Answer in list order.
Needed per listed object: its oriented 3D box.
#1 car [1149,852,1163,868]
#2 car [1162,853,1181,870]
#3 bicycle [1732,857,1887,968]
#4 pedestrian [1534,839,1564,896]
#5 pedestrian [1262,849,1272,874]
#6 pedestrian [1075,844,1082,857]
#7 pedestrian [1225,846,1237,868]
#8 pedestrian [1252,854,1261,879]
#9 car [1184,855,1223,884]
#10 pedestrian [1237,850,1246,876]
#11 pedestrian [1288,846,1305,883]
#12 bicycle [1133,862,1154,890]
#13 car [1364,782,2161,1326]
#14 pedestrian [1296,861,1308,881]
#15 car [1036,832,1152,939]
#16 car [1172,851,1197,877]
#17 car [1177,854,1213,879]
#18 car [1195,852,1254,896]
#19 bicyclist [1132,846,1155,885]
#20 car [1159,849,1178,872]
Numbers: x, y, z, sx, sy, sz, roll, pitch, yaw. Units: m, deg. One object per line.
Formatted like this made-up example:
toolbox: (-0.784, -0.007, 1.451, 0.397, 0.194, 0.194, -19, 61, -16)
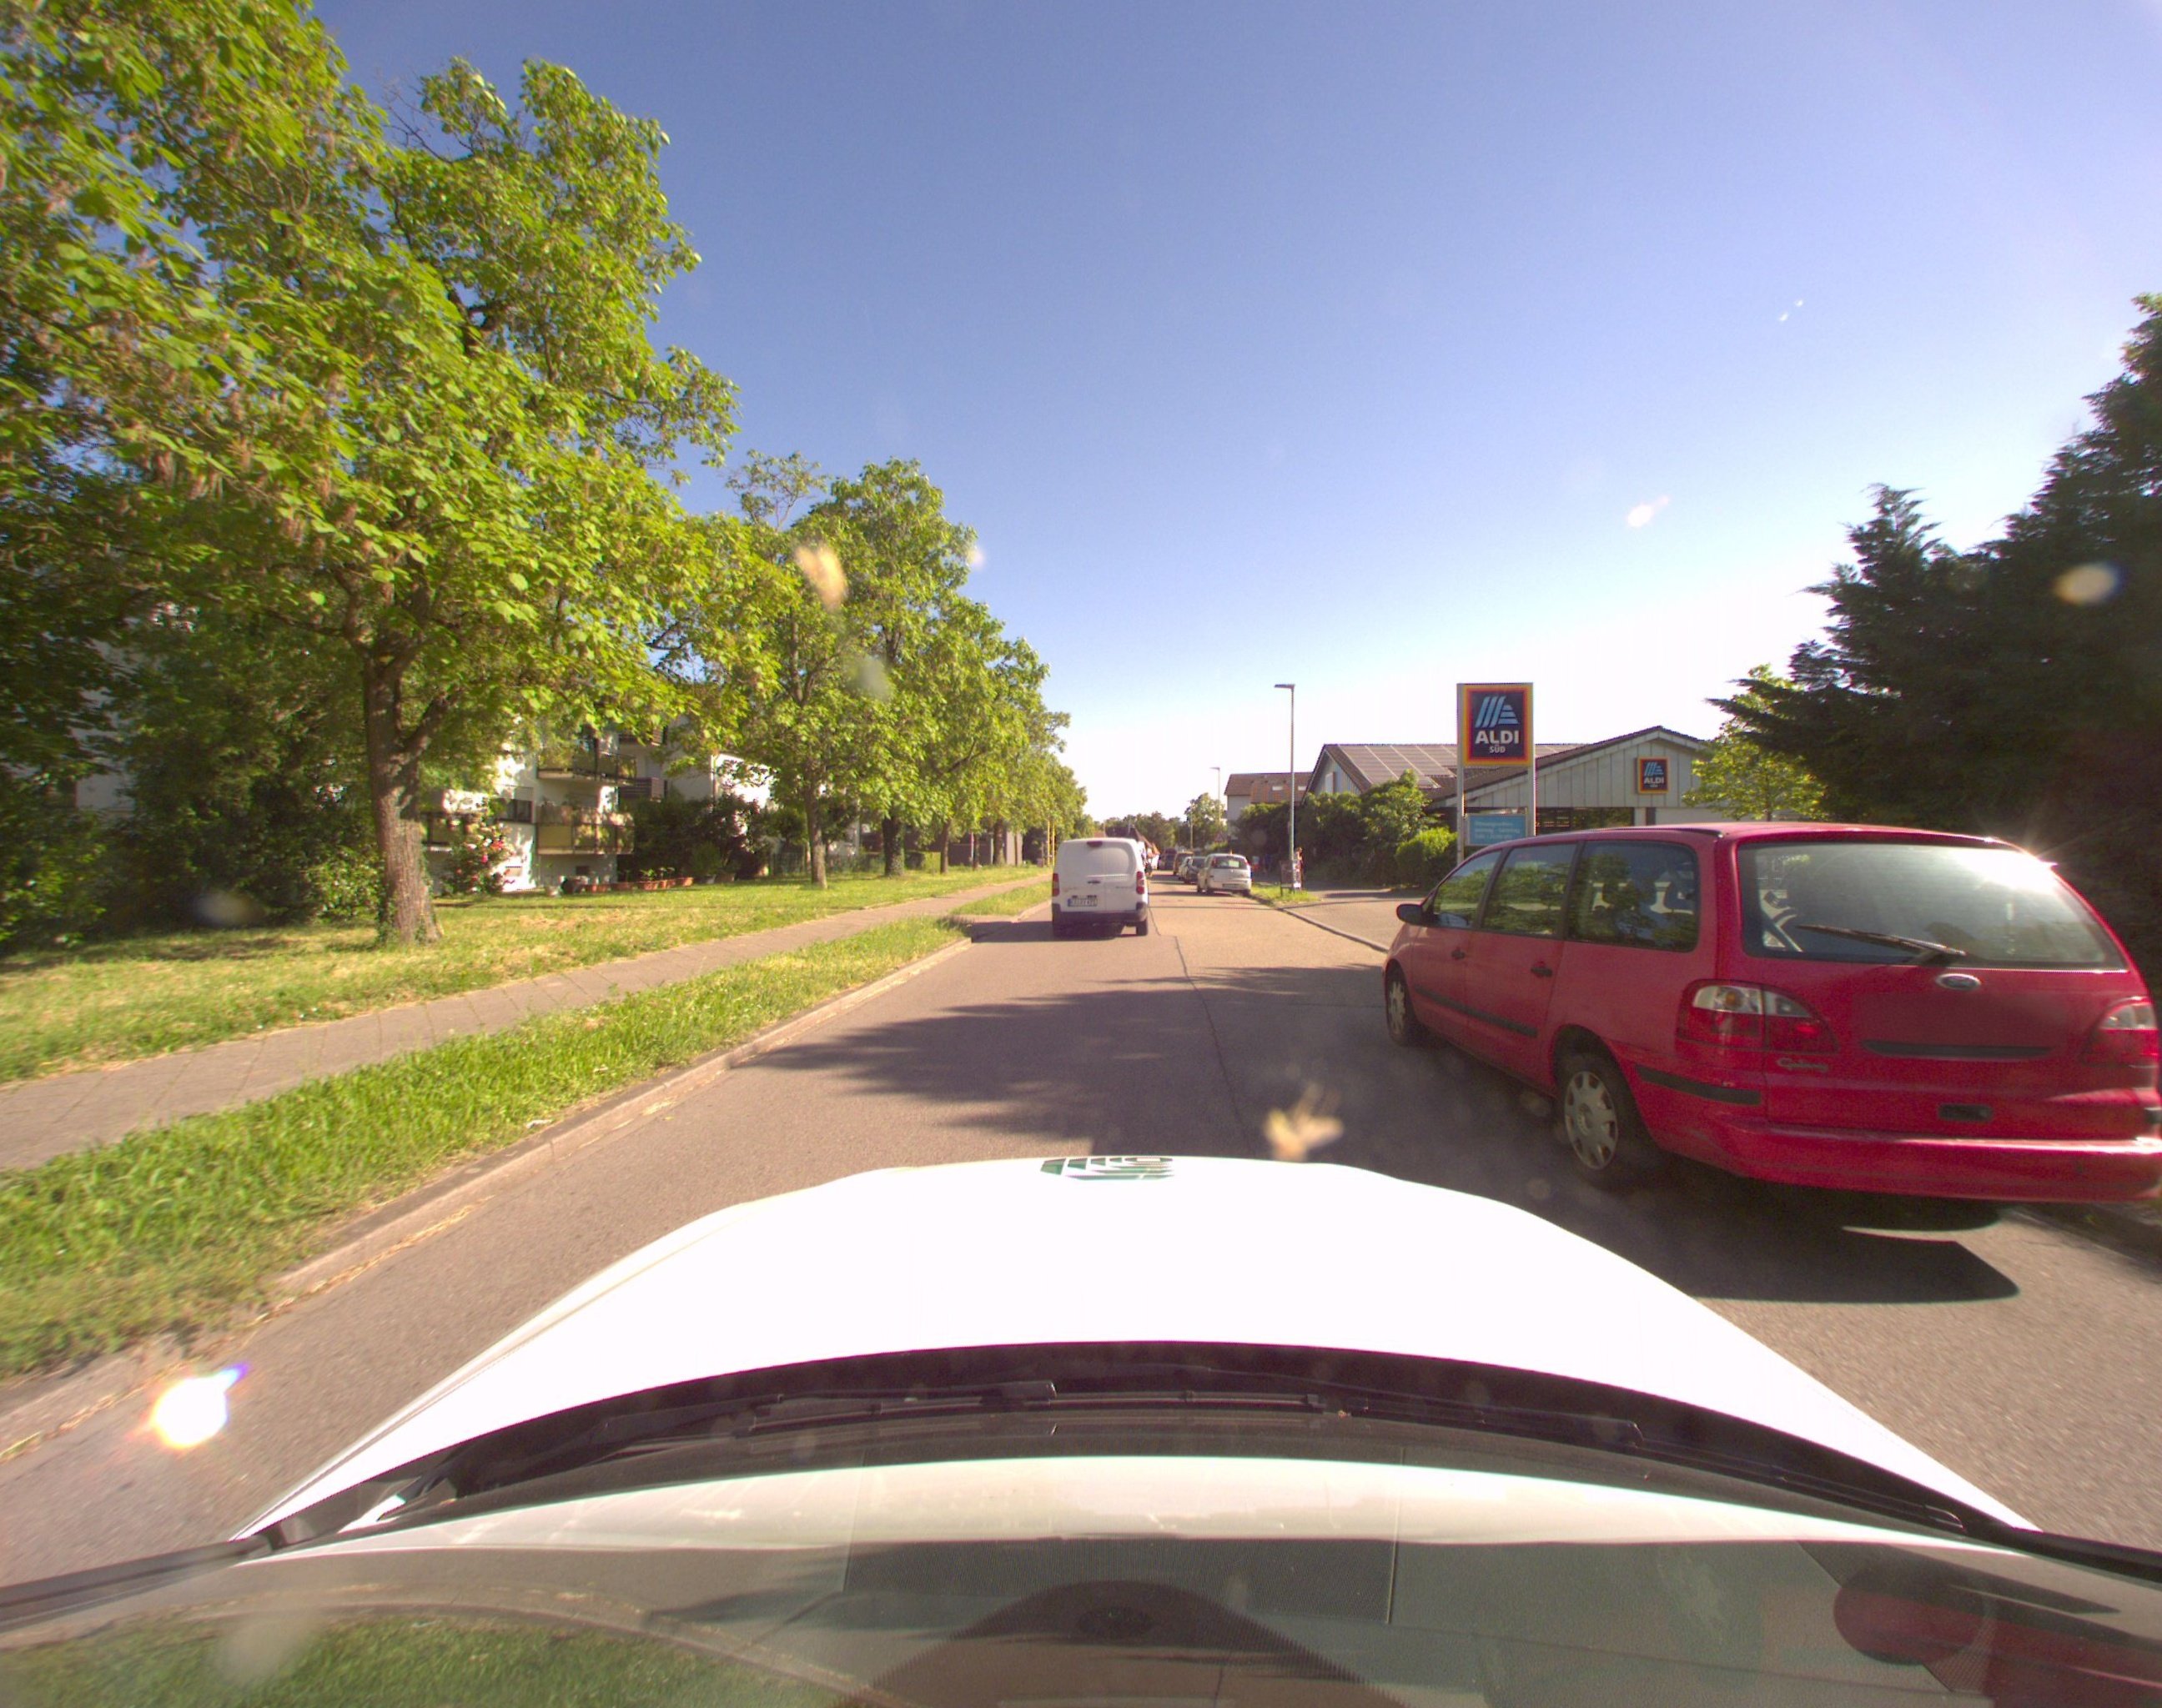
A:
car: (10.410, 0.870, 113.587, 1.796, 2.069, 4.003, 2, -1, 3)
car: (9.703, 0.838, 87.417, 1.796, 1.785, 4.003, 2, -1, 3)
bicycle: (8.798, 0.670, 9.948, 0.714, 1.221, 1.905, -2, -2, 20)
pedestrian: (13.599, 0.376, 23.664, 0.685, 1.631, 0.781, 0, 0, 25)
pedestrian: (12.320, 0.479, 53.971, 0.563, 1.637, 0.548, 0, 0, 9)
pedestrian: (-0.257, -0.422, 89.226, 0.504, 1.446, 0.643, 0, 0, 37)
pedestrian: (12.386, 0.247, 67.221, 0.792, 1.861, 0.873, 0, -1, -3)
pedestrian: (11.672, 0.801, 54.045, 0.563, 1.637, 0.548, 0, 0, 9)
car: (6.447, 0.779, 43.235, 1.799, 1.443, 4.369, 1, 0, 5)
pedestrian: (10.183, 0.567, 51.731, 0.563, 1.637, 0.548, 0, 0, 9)
pedestrian: (10.666, 0.508, 40.328, 0.793, 1.782, 0.811, 0, 0, 12)
bicycle: (2.602, 0.893, 34.051, 0.783, 1.138, 2.281, 0, 0, 3)
car: (3.325, 0.661, 5.052, 1.832, 1.805, 4.659, 0, 0, 4)
pedestrian: (11.167, 0.837, 41.118, 0.528, 0.980, 0.813, 0, -1, 12)
car: (0.415, 0.550, 16.522, 1.983, 1.882, 4.296, 0, 0, 6)
car: (7.711, 0.735, 60.802, 1.716, 1.837, 4.006, 0, -1, 5)
car: (6.866, 0.757, 49.344, 1.819, 1.452, 4.003, 0, -1, 3)
car: (5.571, 0.758, 32.040, 1.674, 1.599, 4.028, 1, -1, 1)
bicyclist: (2.616, 0.485, 34.123, 0.902, 1.584, 0.967, 1, -1, 3)
car: (10.108, 0.765, 94.672, 1.859, 2.562, 4.771, 2, -1, 3)
